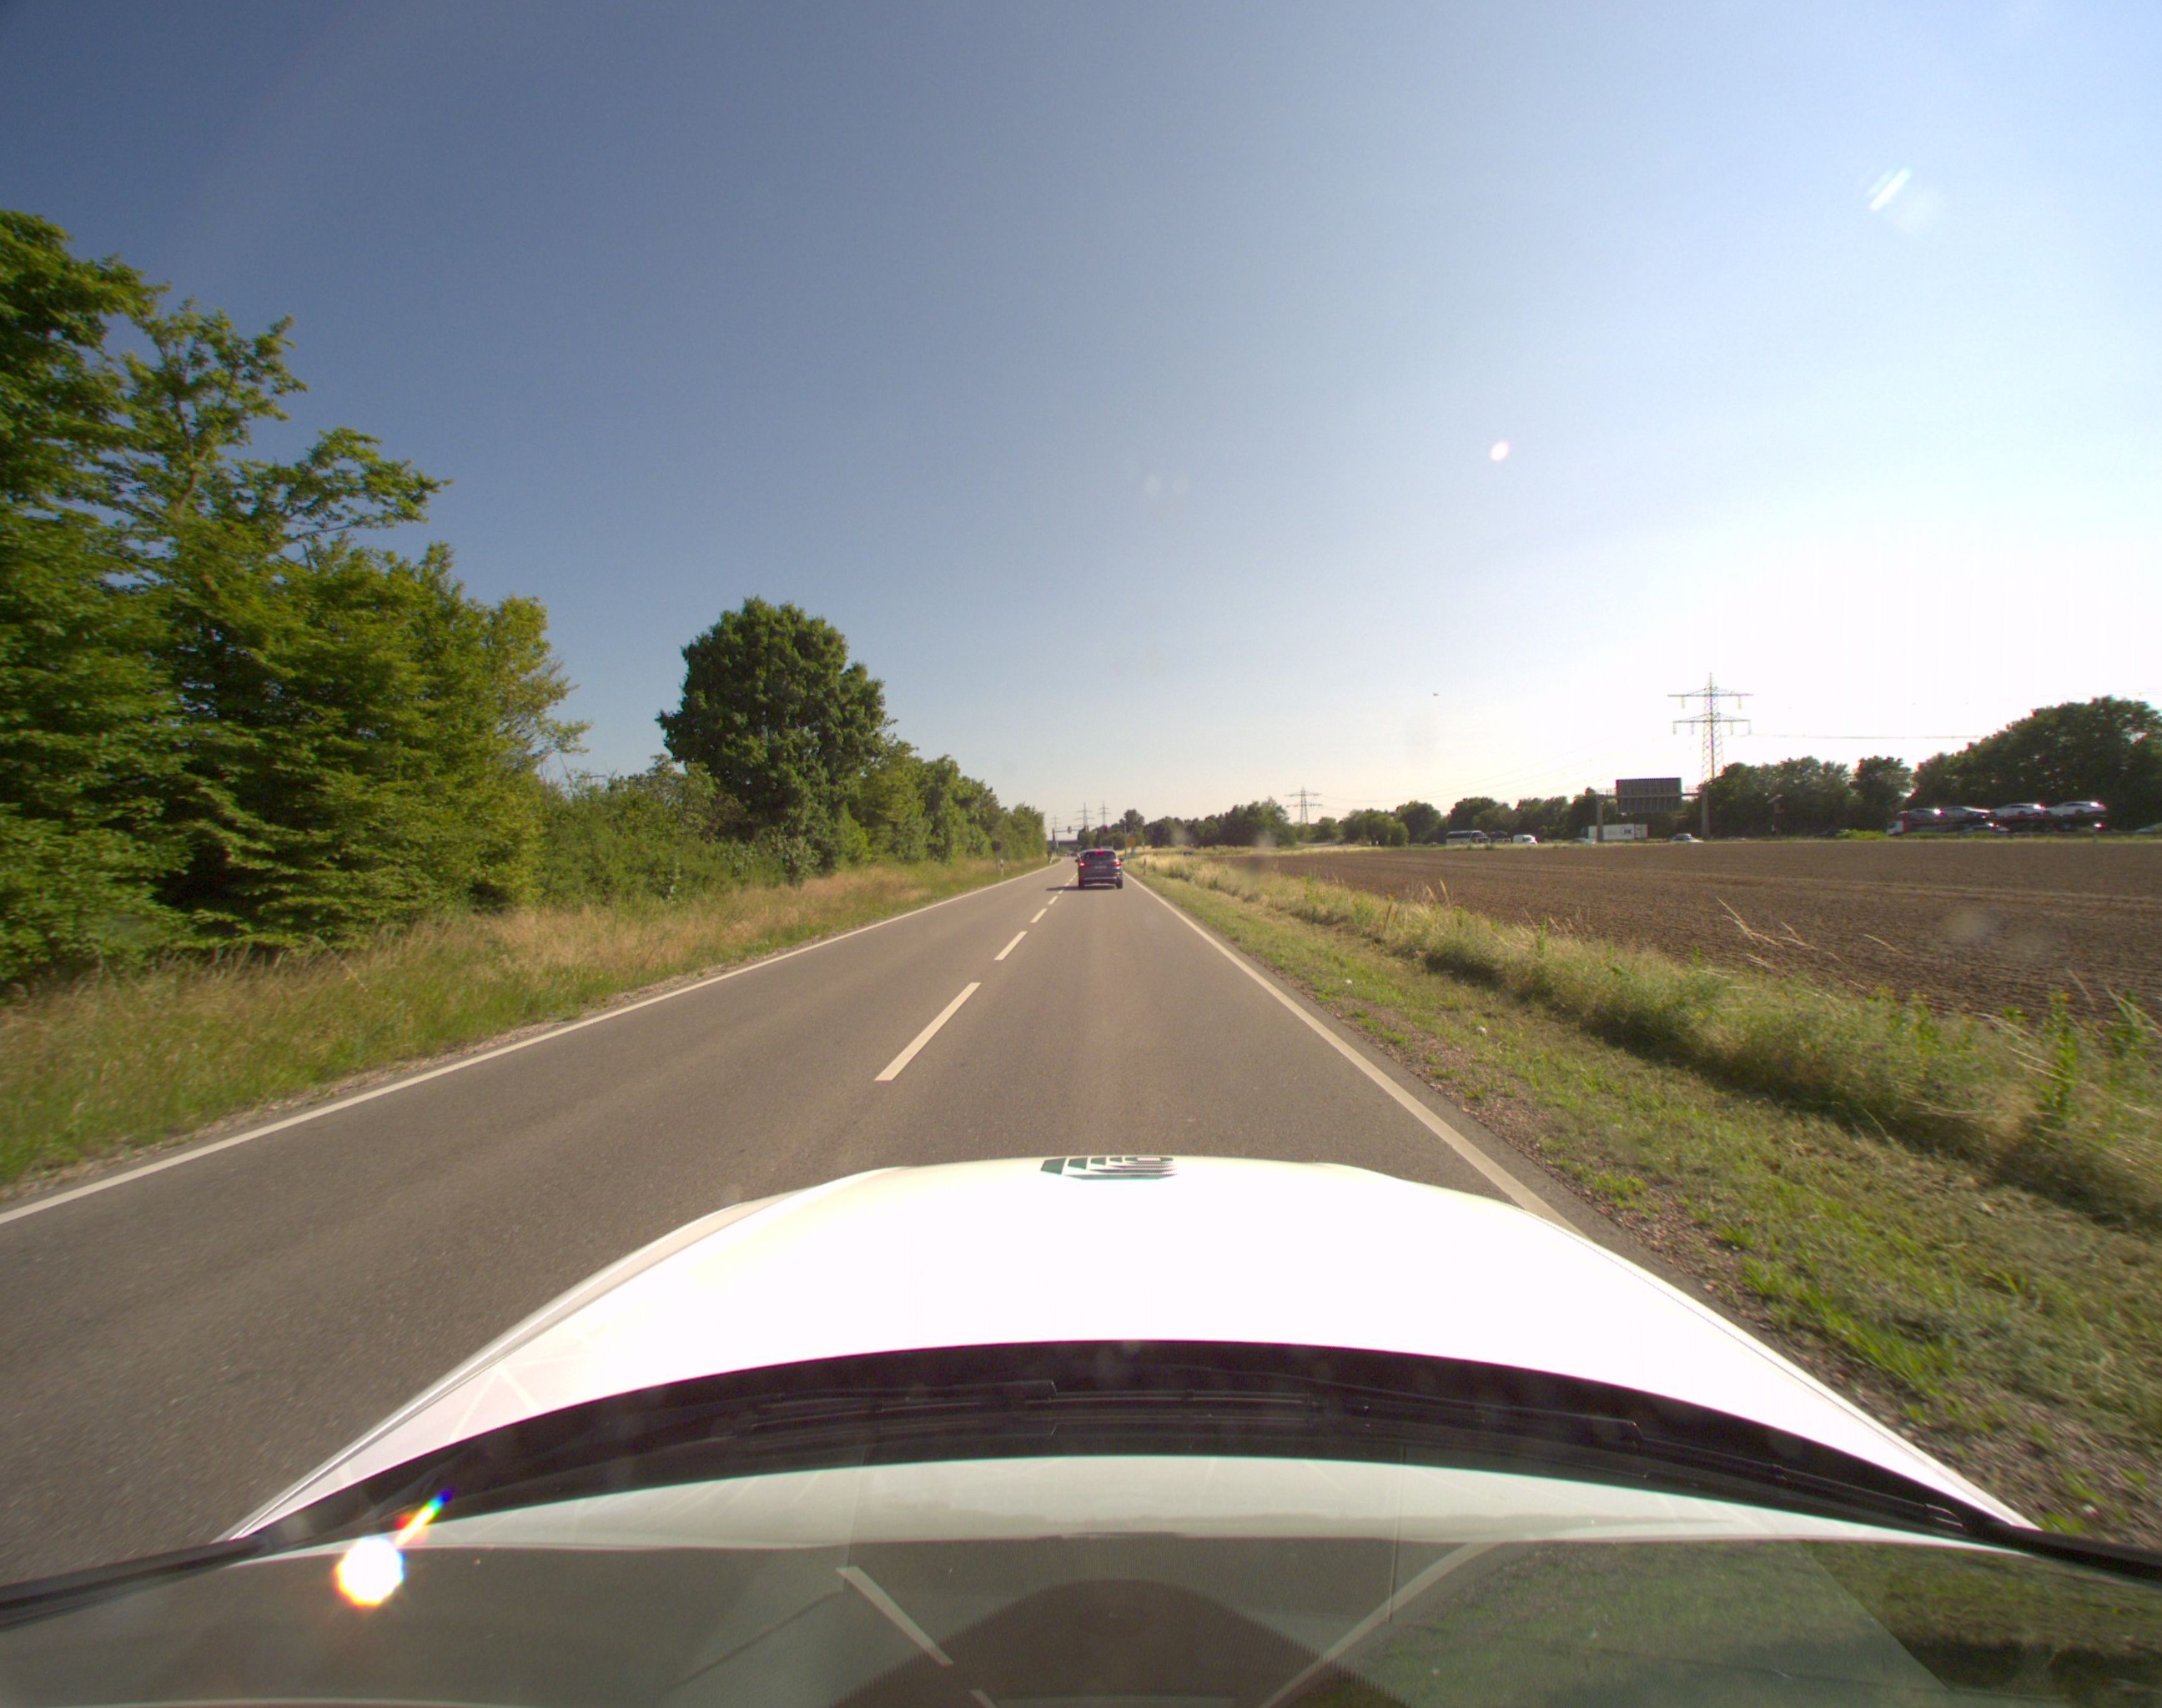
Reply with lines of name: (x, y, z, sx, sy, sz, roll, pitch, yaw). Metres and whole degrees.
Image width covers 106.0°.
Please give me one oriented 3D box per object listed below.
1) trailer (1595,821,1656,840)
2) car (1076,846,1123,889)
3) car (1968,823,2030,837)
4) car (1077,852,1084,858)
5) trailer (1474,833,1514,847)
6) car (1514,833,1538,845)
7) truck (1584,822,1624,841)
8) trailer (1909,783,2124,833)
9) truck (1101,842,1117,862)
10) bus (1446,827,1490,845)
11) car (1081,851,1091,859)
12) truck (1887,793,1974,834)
trailer: (103.843, -4.434, 155.746, 3.274, 3.267, 12.455, -2, 0, 0)
car: (0.770, 0.521, 33.661, 1.779, 1.629, 4.001, -2, 0, 1)
car: (95.949, -2.455, 85.196, 1.844, 1.385, 4.249, 0, 1, 1)
car: (-0.120, 0.159, 192.553, 1.680, 1.380, 3.530, -1, 0, -2)
trailer: (102.904, -3.565, 203.255, 3.274, 3.267, 13.452, -2, 1, 0)
car: (87.989, -2.980, 161.080, 1.986, 2.372, 5.523, 0, 0, 1)
truck: (103.827, -4.430, 161.852, 3.274, 3.267, 6.978, -2, 0, 0)
trailer: (102.945, -4.809, 90.588, 3.411, 4.452, 17.557, -2, 0, -1)
truck: (4.288, -0.276, 124.118, 2.328, 3.066, 5.812, -1, 0, 2)
bus: (84.231, -3.820, 177.608, 2.456, 3.803, 14.540, -2, 1, -1)
car: (1.024, 0.266, 172.445, 1.812, 1.540, 3.996, -2, 0, -3)
truck: (102.848, -4.799, 98.800, 3.411, 4.452, 6.704, -2, 0, -1)
